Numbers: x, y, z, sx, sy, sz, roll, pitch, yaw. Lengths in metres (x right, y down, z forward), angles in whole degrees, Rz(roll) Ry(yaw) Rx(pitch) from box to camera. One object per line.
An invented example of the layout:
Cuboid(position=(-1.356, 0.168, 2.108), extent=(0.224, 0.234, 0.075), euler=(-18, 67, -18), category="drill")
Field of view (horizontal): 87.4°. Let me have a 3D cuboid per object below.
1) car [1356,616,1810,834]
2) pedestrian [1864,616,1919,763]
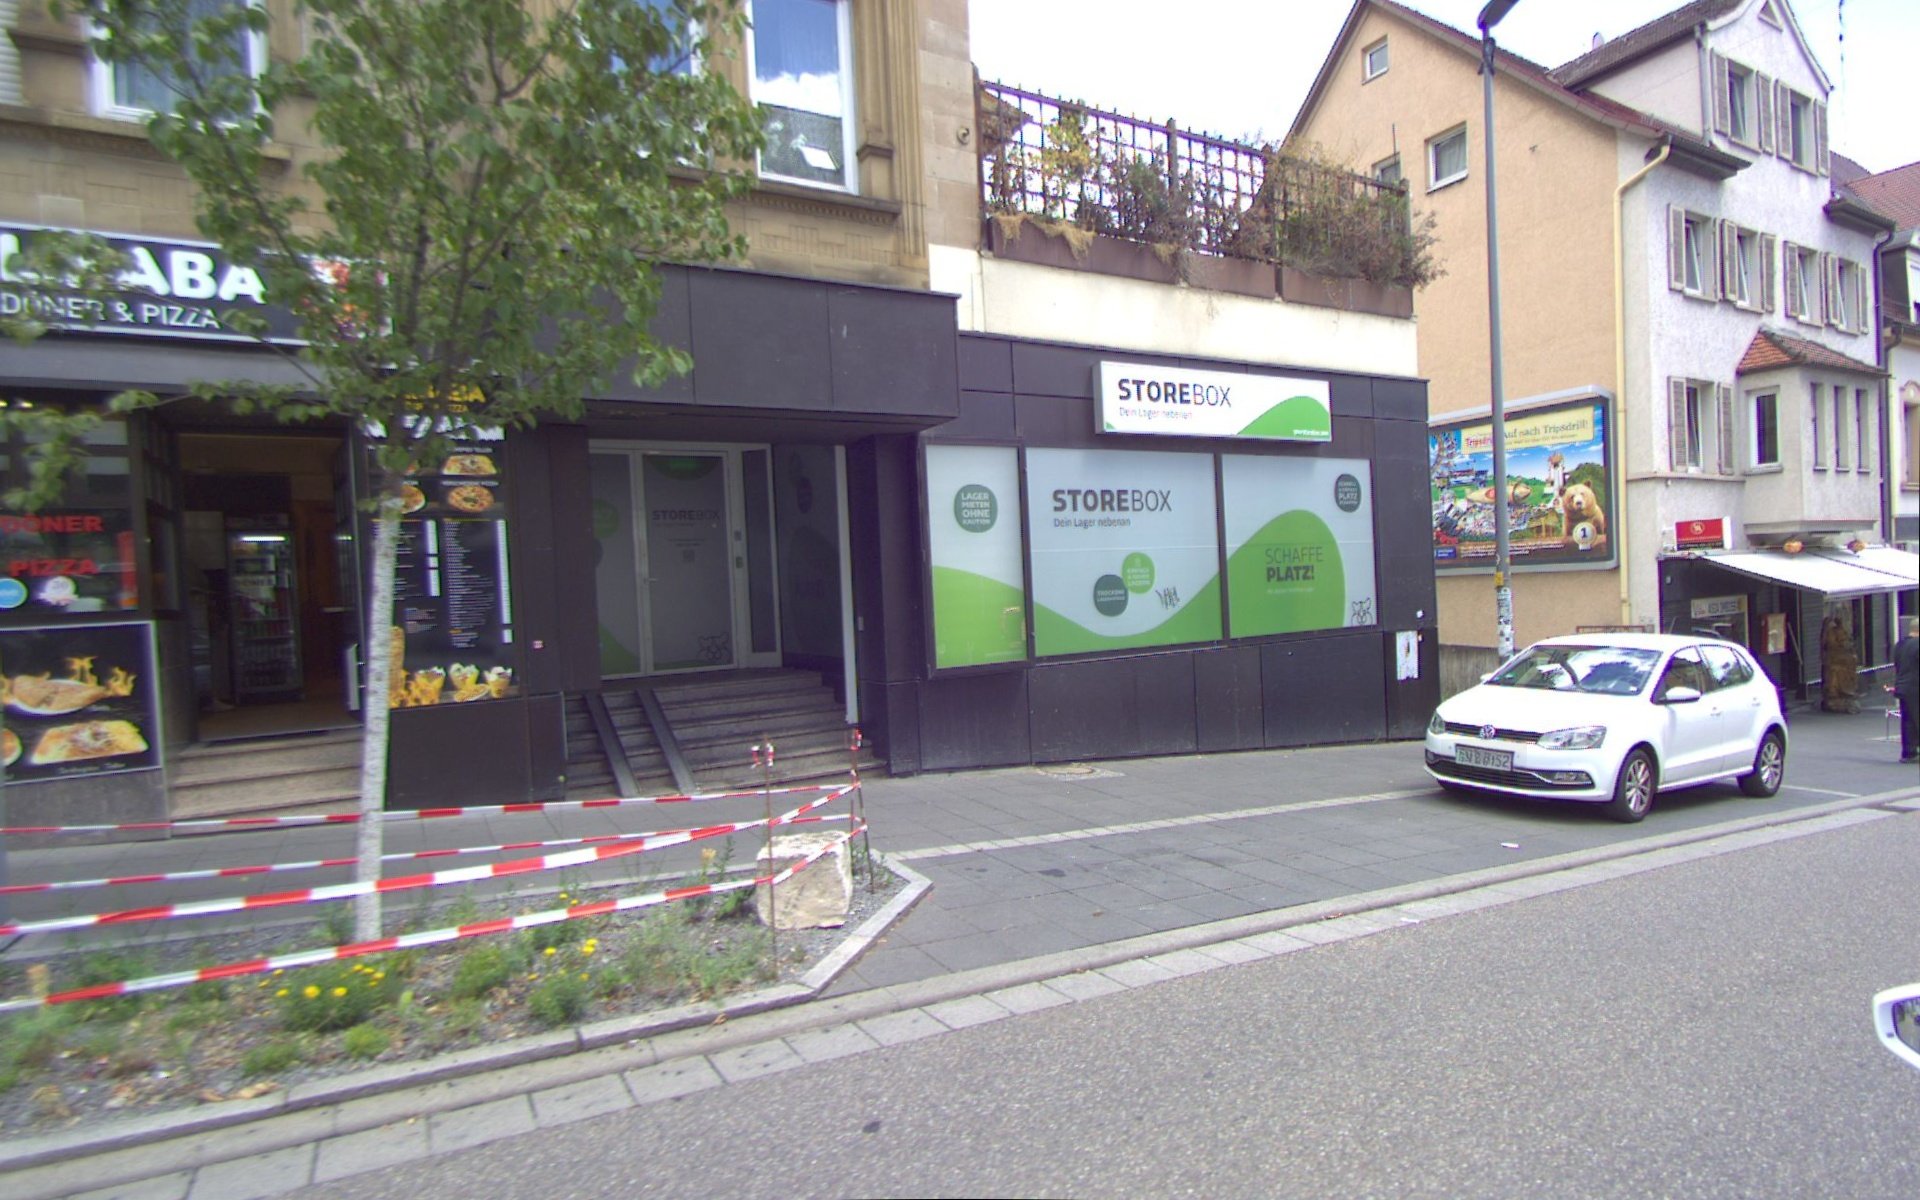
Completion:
Cuboid(position=(5.885, 0.962, 9.392), extent=(4.213, 1.532, 1.916), euler=(0, 1, -32), category="car")
Cuboid(position=(11.341, 1.037, 11.905), extent=(0.853, 1.694, 0.733), euler=(0, -1, -33), category="pedestrian")
